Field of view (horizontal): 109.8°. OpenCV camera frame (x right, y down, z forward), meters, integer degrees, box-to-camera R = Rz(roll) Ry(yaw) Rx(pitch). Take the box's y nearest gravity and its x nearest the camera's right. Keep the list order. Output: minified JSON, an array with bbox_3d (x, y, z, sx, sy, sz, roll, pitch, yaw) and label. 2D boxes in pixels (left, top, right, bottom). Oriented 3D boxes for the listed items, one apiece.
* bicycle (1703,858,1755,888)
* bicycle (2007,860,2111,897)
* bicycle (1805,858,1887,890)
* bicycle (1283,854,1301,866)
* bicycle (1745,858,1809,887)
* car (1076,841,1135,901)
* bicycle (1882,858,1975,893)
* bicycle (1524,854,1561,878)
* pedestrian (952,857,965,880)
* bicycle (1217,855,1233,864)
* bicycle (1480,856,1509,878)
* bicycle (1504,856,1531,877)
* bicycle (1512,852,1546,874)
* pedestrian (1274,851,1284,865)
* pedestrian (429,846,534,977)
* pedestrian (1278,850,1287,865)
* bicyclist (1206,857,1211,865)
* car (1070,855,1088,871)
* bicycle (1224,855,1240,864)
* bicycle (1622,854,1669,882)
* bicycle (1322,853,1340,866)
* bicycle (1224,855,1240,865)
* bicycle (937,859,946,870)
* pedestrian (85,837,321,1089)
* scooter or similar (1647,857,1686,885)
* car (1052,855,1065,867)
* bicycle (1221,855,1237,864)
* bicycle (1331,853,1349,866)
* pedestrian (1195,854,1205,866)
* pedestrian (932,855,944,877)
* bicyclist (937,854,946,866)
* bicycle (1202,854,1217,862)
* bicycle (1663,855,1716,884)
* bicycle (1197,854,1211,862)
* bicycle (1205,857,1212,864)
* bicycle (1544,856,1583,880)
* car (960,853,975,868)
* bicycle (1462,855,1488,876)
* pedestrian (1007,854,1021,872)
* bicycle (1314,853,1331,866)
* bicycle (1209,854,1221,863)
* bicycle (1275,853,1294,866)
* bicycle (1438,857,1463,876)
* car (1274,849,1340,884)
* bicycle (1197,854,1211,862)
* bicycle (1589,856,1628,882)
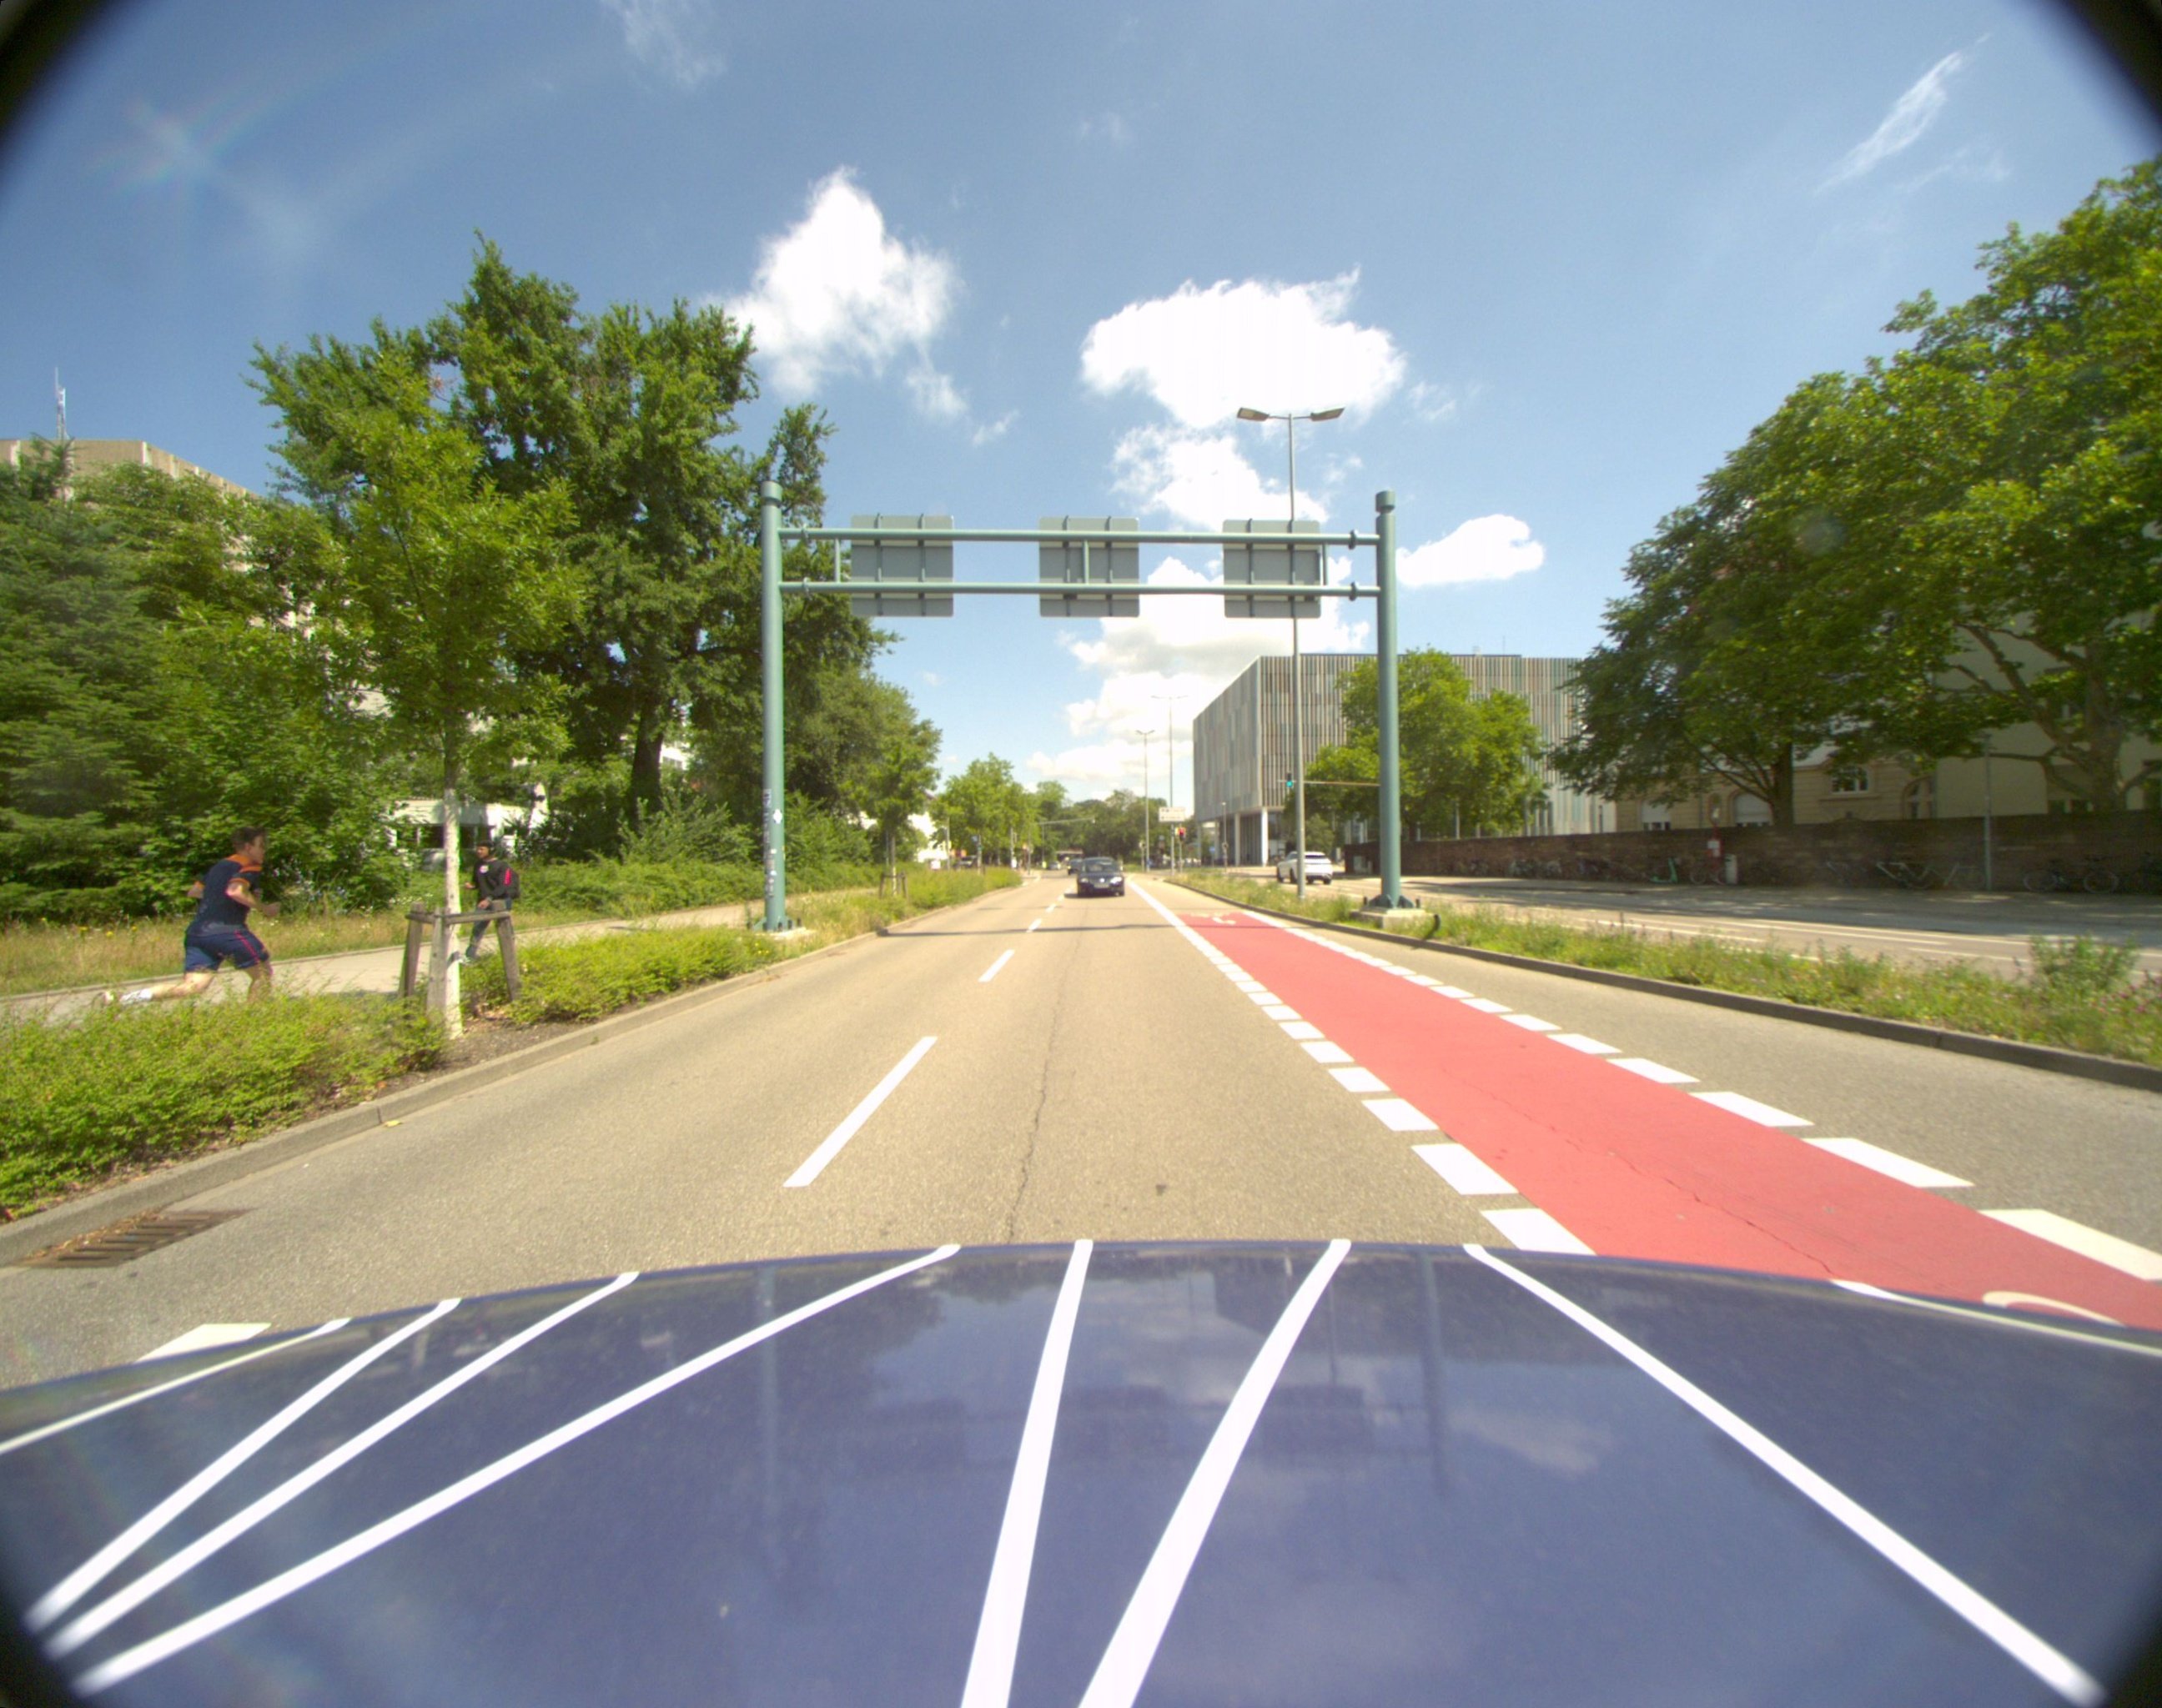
[{"bbox_3d":[24.948,0.725,29.299,0.433,1.136,1.592,-1,0,-12],"label":"bicycle"},{"bbox_3d":[26.443,0.648,20.589,0.545,0.944,1.664,-1,0,-11],"label":"bicycle"},{"bbox_3d":[25.612,0.649,25.475,0.545,1.041,1.948,-1,0,-11],"label":"bicycle"},{"bbox_3d":[27.327,0.810,98.355,2.693,1.485,0.930,-1,0,-45],"label":"bicycle"},{"bbox_3d":[25.244,0.661,27.595,0.482,1.002,1.800,-1,0,-8],"label":"bicycle"},{"bbox_3d":[0.862,0.598,27.874,1.998,2.002,4.000,-1,0,1],"label":"car"},{"bbox_3d":[25.947,0.642,23.319,0.545,1.041,1.894,-1,0,-11],"label":"bicycle"},{"bbox_3d":[23.227,0.605,38.271,0.403,1.145,1.590,-1,0,-32],"label":"bicycle"},{"bbox_3d":[-9.297,1.060,57.614,0.815,1.711,0.929,-1,1,2],"label":"pedestrian"},{"bbox_3d":[23.630,0.892,124.386,2.511,1.486,0.621,-1,0,1],"label":"bicycle"},{"bbox_3d":[23.054,0.717,42.398,0.623,1.145,1.593,-1,0,-8],"label":"bicycle"},{"bbox_3d":[23.387,0.661,40.702,0.413,1.145,1.593,-1,0,-5],"label":"bicycle"},{"bbox_3d":[23.194,0.458,39.374,0.403,1.145,1.591,-1,0,-22],"label":"bicycle"},{"bbox_3d":[26.100,0.541,100.071,0.969,1.914,0.880,-1,1,30],"label":"pedestrian"},{"bbox_3d":[-8.197,0.756,10.419,0.718,1.711,0.837,-1,1,2],"label":"pedestrian"},{"bbox_3d":[27.445,0.474,103.427,0.969,1.914,0.880,-1,1,27],"label":"pedestrian"},{"bbox_3d":[20.030,1.087,119.253,0.618,1.219,0.833,-1,0,-3],"label":"bicyclist"},{"bbox_3d":[-0.234,0.917,79.199,1.846,1.593,3.999,-1,0,-2],"label":"car"},{"bbox_3d":[24.216,0.909,121.704,2.509,1.486,0.730,-1,0,10],"label":"bicycle"},{"bbox_3d":[24.152,0.604,32.526,0.534,1.145,1.591,-1,0,-21],"label":"bicycle"},{"bbox_3d":[31.083,0.660,94.516,0.997,1.543,3.422,-1,0,37],"label":"bicycle"},{"bbox_3d":[23.929,0.925,120.699,2.451,1.486,0.621,-1,0,1],"label":"bicycle"},{"bbox_3d":[-17.003,1.244,92.886,0.885,1.244,2.164,-1,0,-6],"label":"bicycle"},{"bbox_3d":[-7.013,0.826,6.122,0.953,1.881,0.774,-1,0,1],"label":"pedestrian"},{"bbox_3d":[23.902,0.686,31.021,0.433,1.145,1.191,-1,0,-20],"label":"scooter or similar"},{"bbox_3d":[-3.657,1.145,121.834,1.913,1.772,3.999,-1,0,-3],"label":"car"},{"bbox_3d":[24.374,0.872,125.284,2.511,1.486,0.621,-1,0,1],"label":"bicycle"},{"bbox_3d":[31.907,0.661,93.592,0.997,1.543,3.422,-1,0,37],"label":"bicycle"},{"bbox_3d":[15.905,0.840,101.581,0.972,1.619,0.878,-1,1,-7],"label":"pedestrian"},{"bbox_3d":[-12.687,1.056,67.446,0.972,1.861,0.877,-1,1,-17],"label":"pedestrian"},{"bbox_3d":[-17.024,0.704,92.893,0.972,1.436,1.076,-1,0,-6],"label":"bicyclist"},{"bbox_3d":[23.235,0.767,137.495,2.511,1.486,0.621,-1,0,1],"label":"bicycle"},{"bbox_3d":[24.630,0.614,30.786,0.534,1.145,1.591,-1,0,-21],"label":"bicycle"},{"bbox_3d":[23.034,0.726,141.890,2.511,1.486,0.621,-1,0,1],"label":"bicycle"},{"bbox_3d":[19.992,1.042,119.380,0.647,0.992,2.163,-1,0,-1],"label":"bicycle"},{"bbox_3d":[23.488,0.663,36.997,0.403,1.145,1.590,-1,0,-32],"label":"bicycle"},{"bbox_3d":[-15.866,0.849,106.716,2.000,2.042,4.226,-1,0,-8],"label":"car"},{"bbox_3d":[22.880,0.658,44.106,0.500,1.145,1.593,-1,0,-8],"label":"bicycle"},{"bbox_3d":[-7.135,0.938,80.949,1.107,1.914,0.973,-1,1,14],"label":"pedestrian"},{"bbox_3d":[30.306,0.663,95.398,0.997,1.543,3.422,-1,0,37],"label":"bicycle"},{"bbox_3d":[23.558,0.799,133.818,2.071,1.486,0.621,-1,0,1],"label":"bicycle"},{"bbox_3d":[26.560,0.731,99.088,0.808,1.634,3.422,-1,0,42],"label":"bicycle"},{"bbox_3d":[22.541,0.762,46.365,0.573,1.092,1.593,-1,0,-8],"label":"bicycle"},{"bbox_3d":[11.573,0.634,39.256,2.076,1.657,4.776,-1,0,2],"label":"car"},{"bbox_3d":[22.925,0.735,141.190,2.511,1.486,0.621,-1,0,1],"label":"bicycle"},{"bbox_3d":[23.918,0.682,34.483,0.403,1.145,1.593,-1,0,-11],"label":"bicycle"}]
